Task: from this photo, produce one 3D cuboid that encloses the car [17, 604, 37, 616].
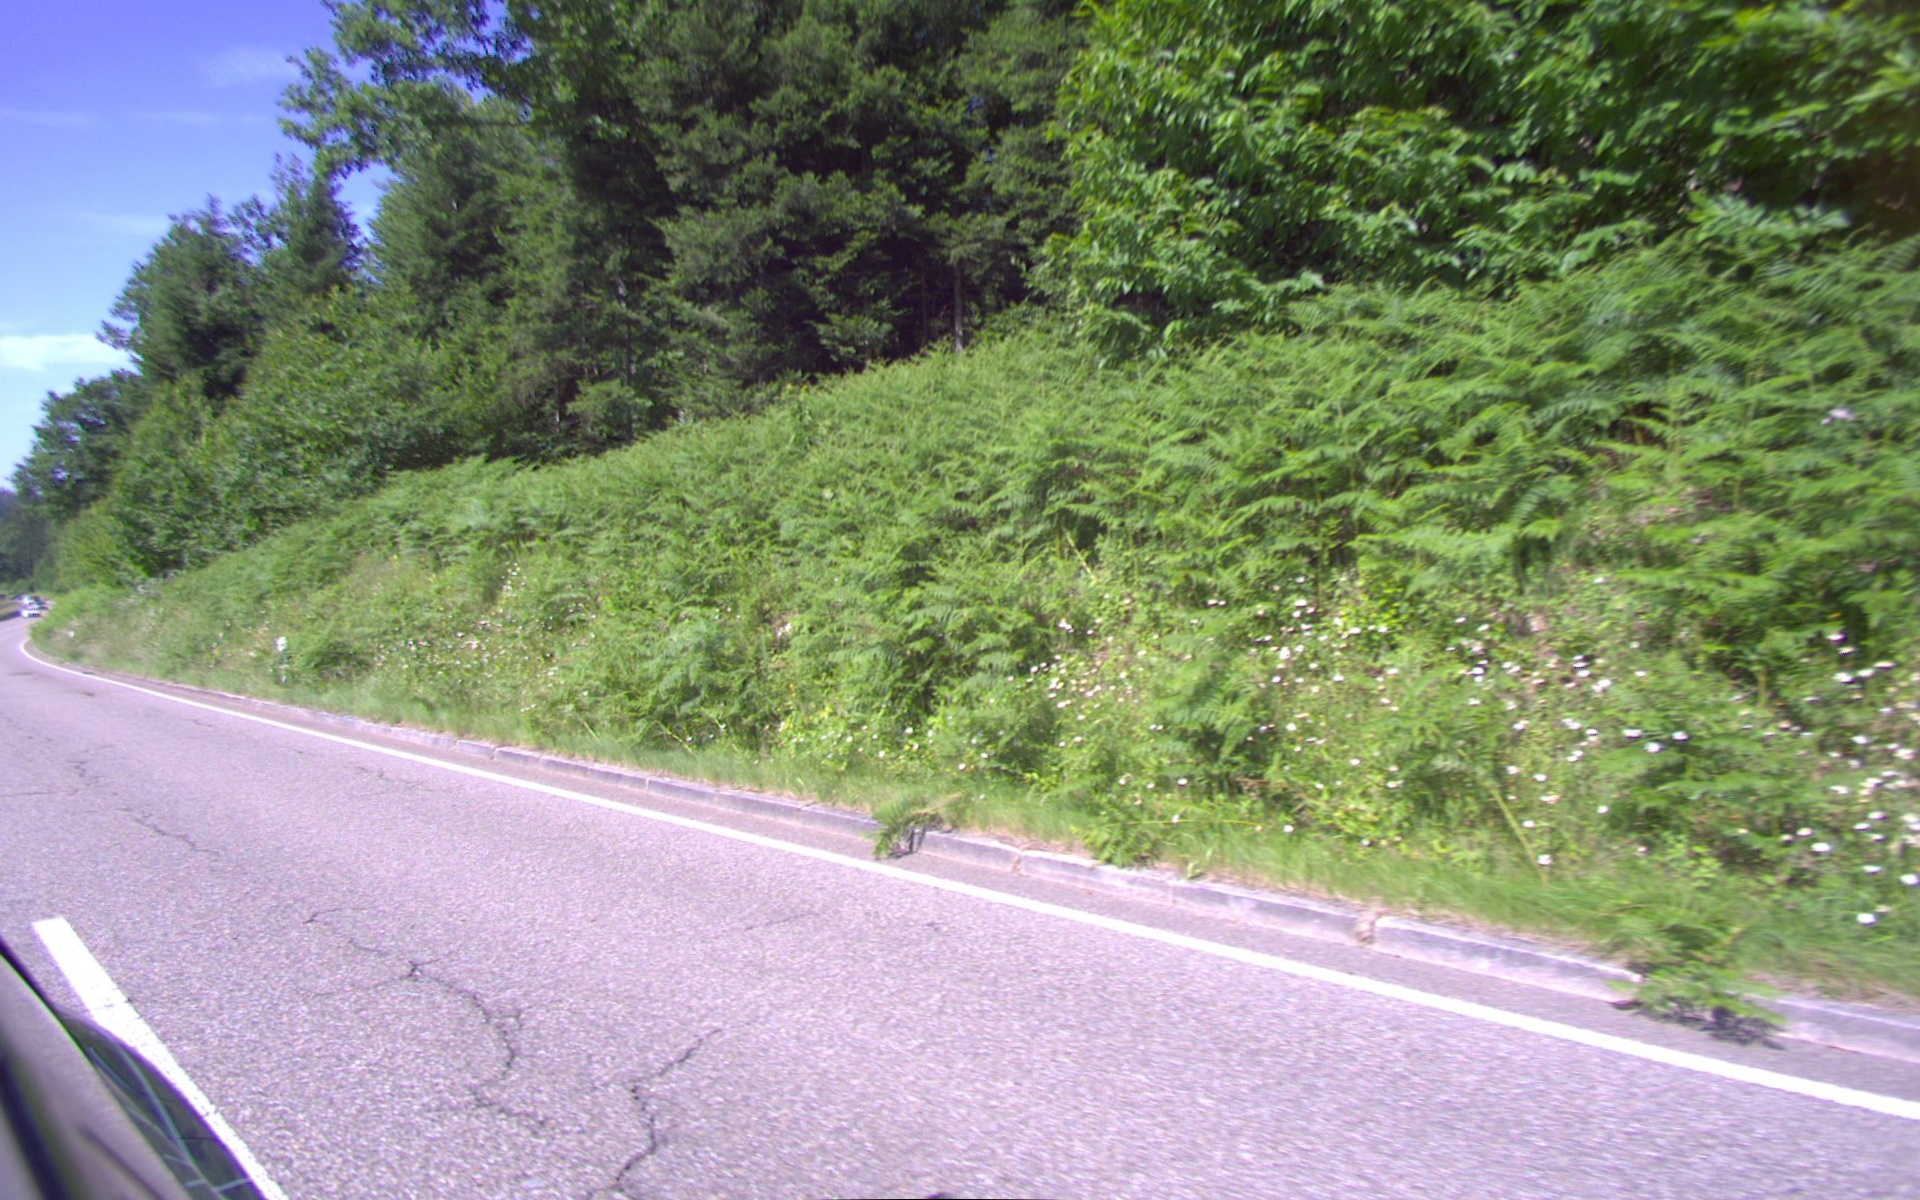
[{"bbox_3d":[-133.238,1.468,144.514,3.788,1.563,1.680,1,3,42],"label":"car"}]
